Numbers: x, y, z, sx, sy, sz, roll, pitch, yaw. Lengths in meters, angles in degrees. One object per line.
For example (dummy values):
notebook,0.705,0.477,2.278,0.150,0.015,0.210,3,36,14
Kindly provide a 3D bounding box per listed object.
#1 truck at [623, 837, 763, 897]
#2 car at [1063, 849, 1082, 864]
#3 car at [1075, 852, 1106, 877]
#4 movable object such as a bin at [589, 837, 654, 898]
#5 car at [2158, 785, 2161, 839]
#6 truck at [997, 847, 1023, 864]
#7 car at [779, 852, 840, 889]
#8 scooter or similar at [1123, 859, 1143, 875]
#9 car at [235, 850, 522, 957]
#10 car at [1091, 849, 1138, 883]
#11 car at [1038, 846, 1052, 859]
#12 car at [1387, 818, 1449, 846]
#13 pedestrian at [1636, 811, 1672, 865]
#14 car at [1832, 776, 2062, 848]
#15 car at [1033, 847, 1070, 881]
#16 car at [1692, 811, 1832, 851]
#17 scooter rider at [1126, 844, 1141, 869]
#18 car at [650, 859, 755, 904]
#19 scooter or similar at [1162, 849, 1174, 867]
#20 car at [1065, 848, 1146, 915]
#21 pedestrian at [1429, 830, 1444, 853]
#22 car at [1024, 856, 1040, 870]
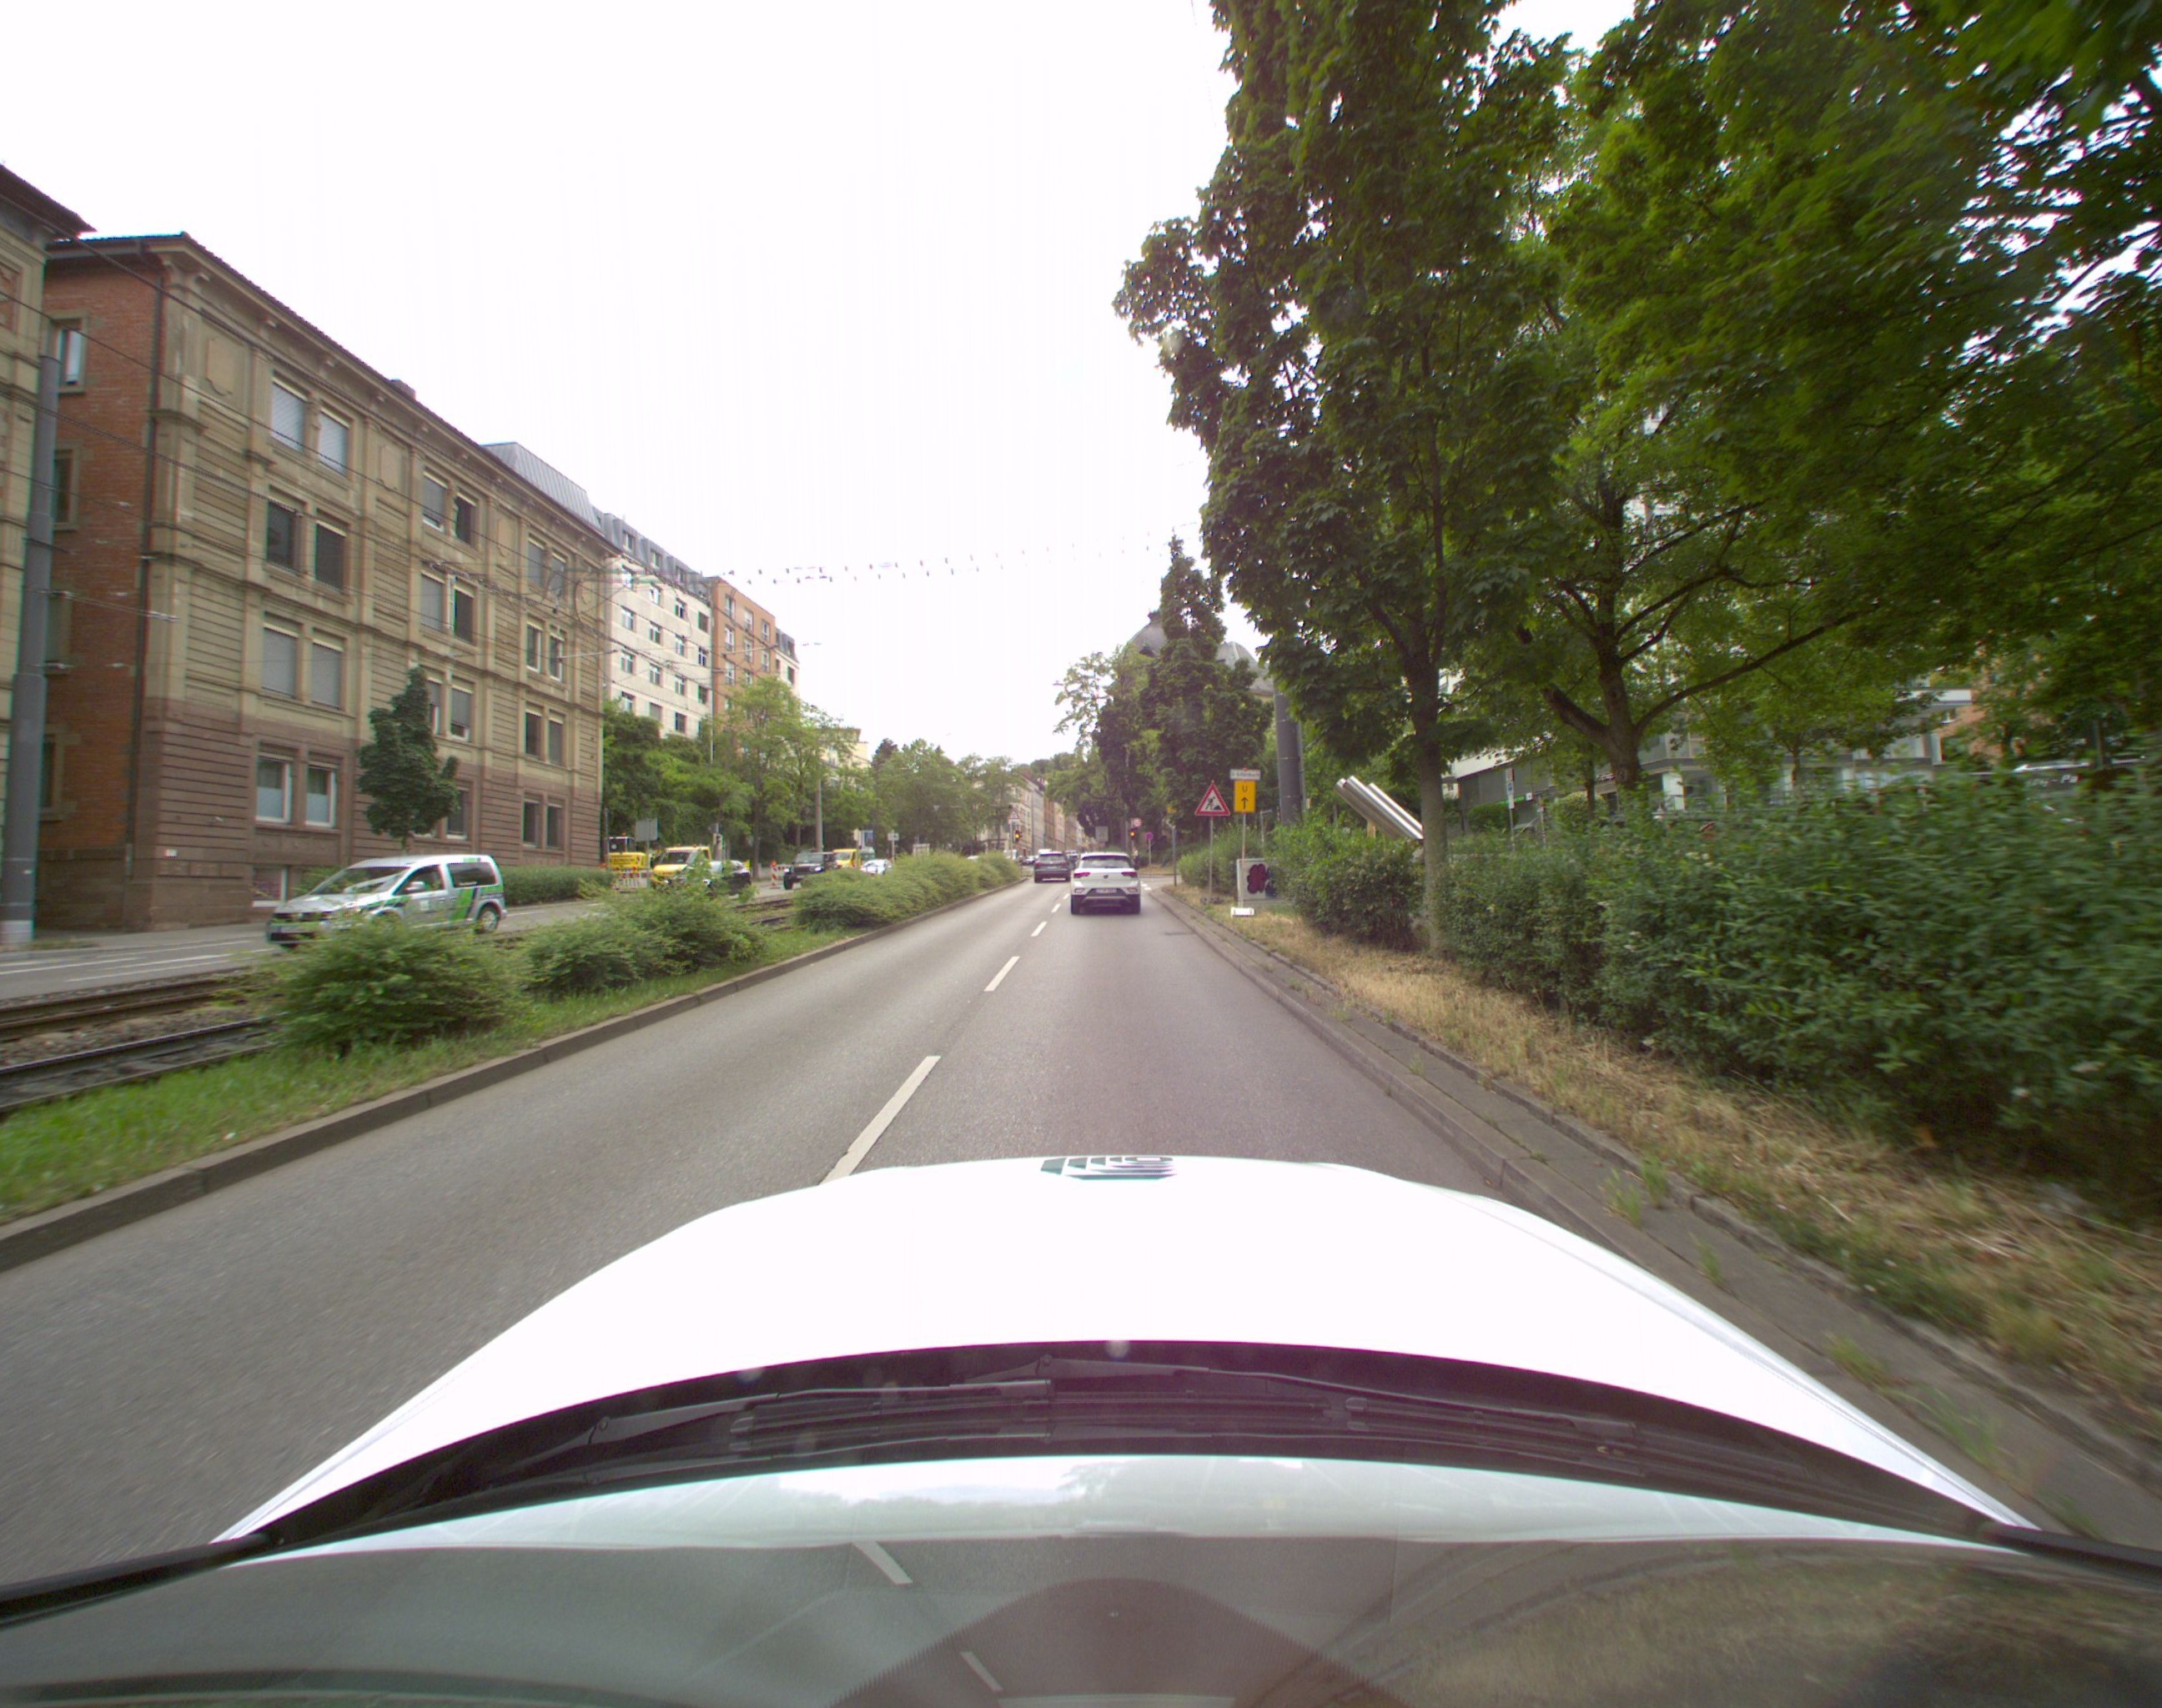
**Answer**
truck,-18.081,0.710,38.582,2.906,2.510,7.154,1,-3,2
car,-1.202,0.423,122.789,2.411,2.169,6.040,1,0,4
car,0.698,0.796,60.277,1.989,1.623,3.995,-3,-3,-3
movable object such as a bin,-22.377,0.632,39.747,1.990,2.838,2.026,-2,-1,-4
car,31.849,-1.214,21.346,1.757,1.508,4.112,2,-3,-27
truck,-9.562,0.159,110.125,2.409,2.169,6.045,1,2,6
car,-14.476,0.848,43.722,1.895,1.876,4.637,0,-1,-3
scooter or similar,3.435,0.827,53.575,1.187,0.994,0.529,-3,0,-10
car,-14.029,0.891,16.724,1.873,1.788,4.517,-3,0,0
car,1.644,0.632,41.209,1.900,1.574,3.826,1,-3,-5
car,-6.095,-0.230,138.722,1.986,2.013,4.002,-3,0,2
car,27.085,-1.753,65.590,4.124,2.013,1.996,-2,0,-6
pedestrian,16.865,-0.473,23.971,0.547,1.542,0.619,-2,0,0
car,28.900,-1.303,27.409,2.032,2.028,4.940,2,-2,-26
car,-1.564,0.534,44.680,1.833,1.740,3.999,-1,-1,0
car,26.546,-0.836,31.878,1.622,1.279,3.888,2,-3,-26
scooter rider,3.450,0.168,53.591,0.778,1.558,0.530,-3,0,-11
car,-14.409,1.025,31.305,1.858,1.555,4.438,-1,-1,1
scooter or similar,6.004,0.281,56.139,0.473,1.100,1.365,-3,-3,-7
car,0.653,0.679,21.836,1.931,1.566,4.047,-1,0,1
pedestrian,23.870,-0.852,54.689,0.560,1.500,0.672,-2,-1,-24
car,-7.293,1.342,121.695,1.986,2.014,4.001,1,-3,2
